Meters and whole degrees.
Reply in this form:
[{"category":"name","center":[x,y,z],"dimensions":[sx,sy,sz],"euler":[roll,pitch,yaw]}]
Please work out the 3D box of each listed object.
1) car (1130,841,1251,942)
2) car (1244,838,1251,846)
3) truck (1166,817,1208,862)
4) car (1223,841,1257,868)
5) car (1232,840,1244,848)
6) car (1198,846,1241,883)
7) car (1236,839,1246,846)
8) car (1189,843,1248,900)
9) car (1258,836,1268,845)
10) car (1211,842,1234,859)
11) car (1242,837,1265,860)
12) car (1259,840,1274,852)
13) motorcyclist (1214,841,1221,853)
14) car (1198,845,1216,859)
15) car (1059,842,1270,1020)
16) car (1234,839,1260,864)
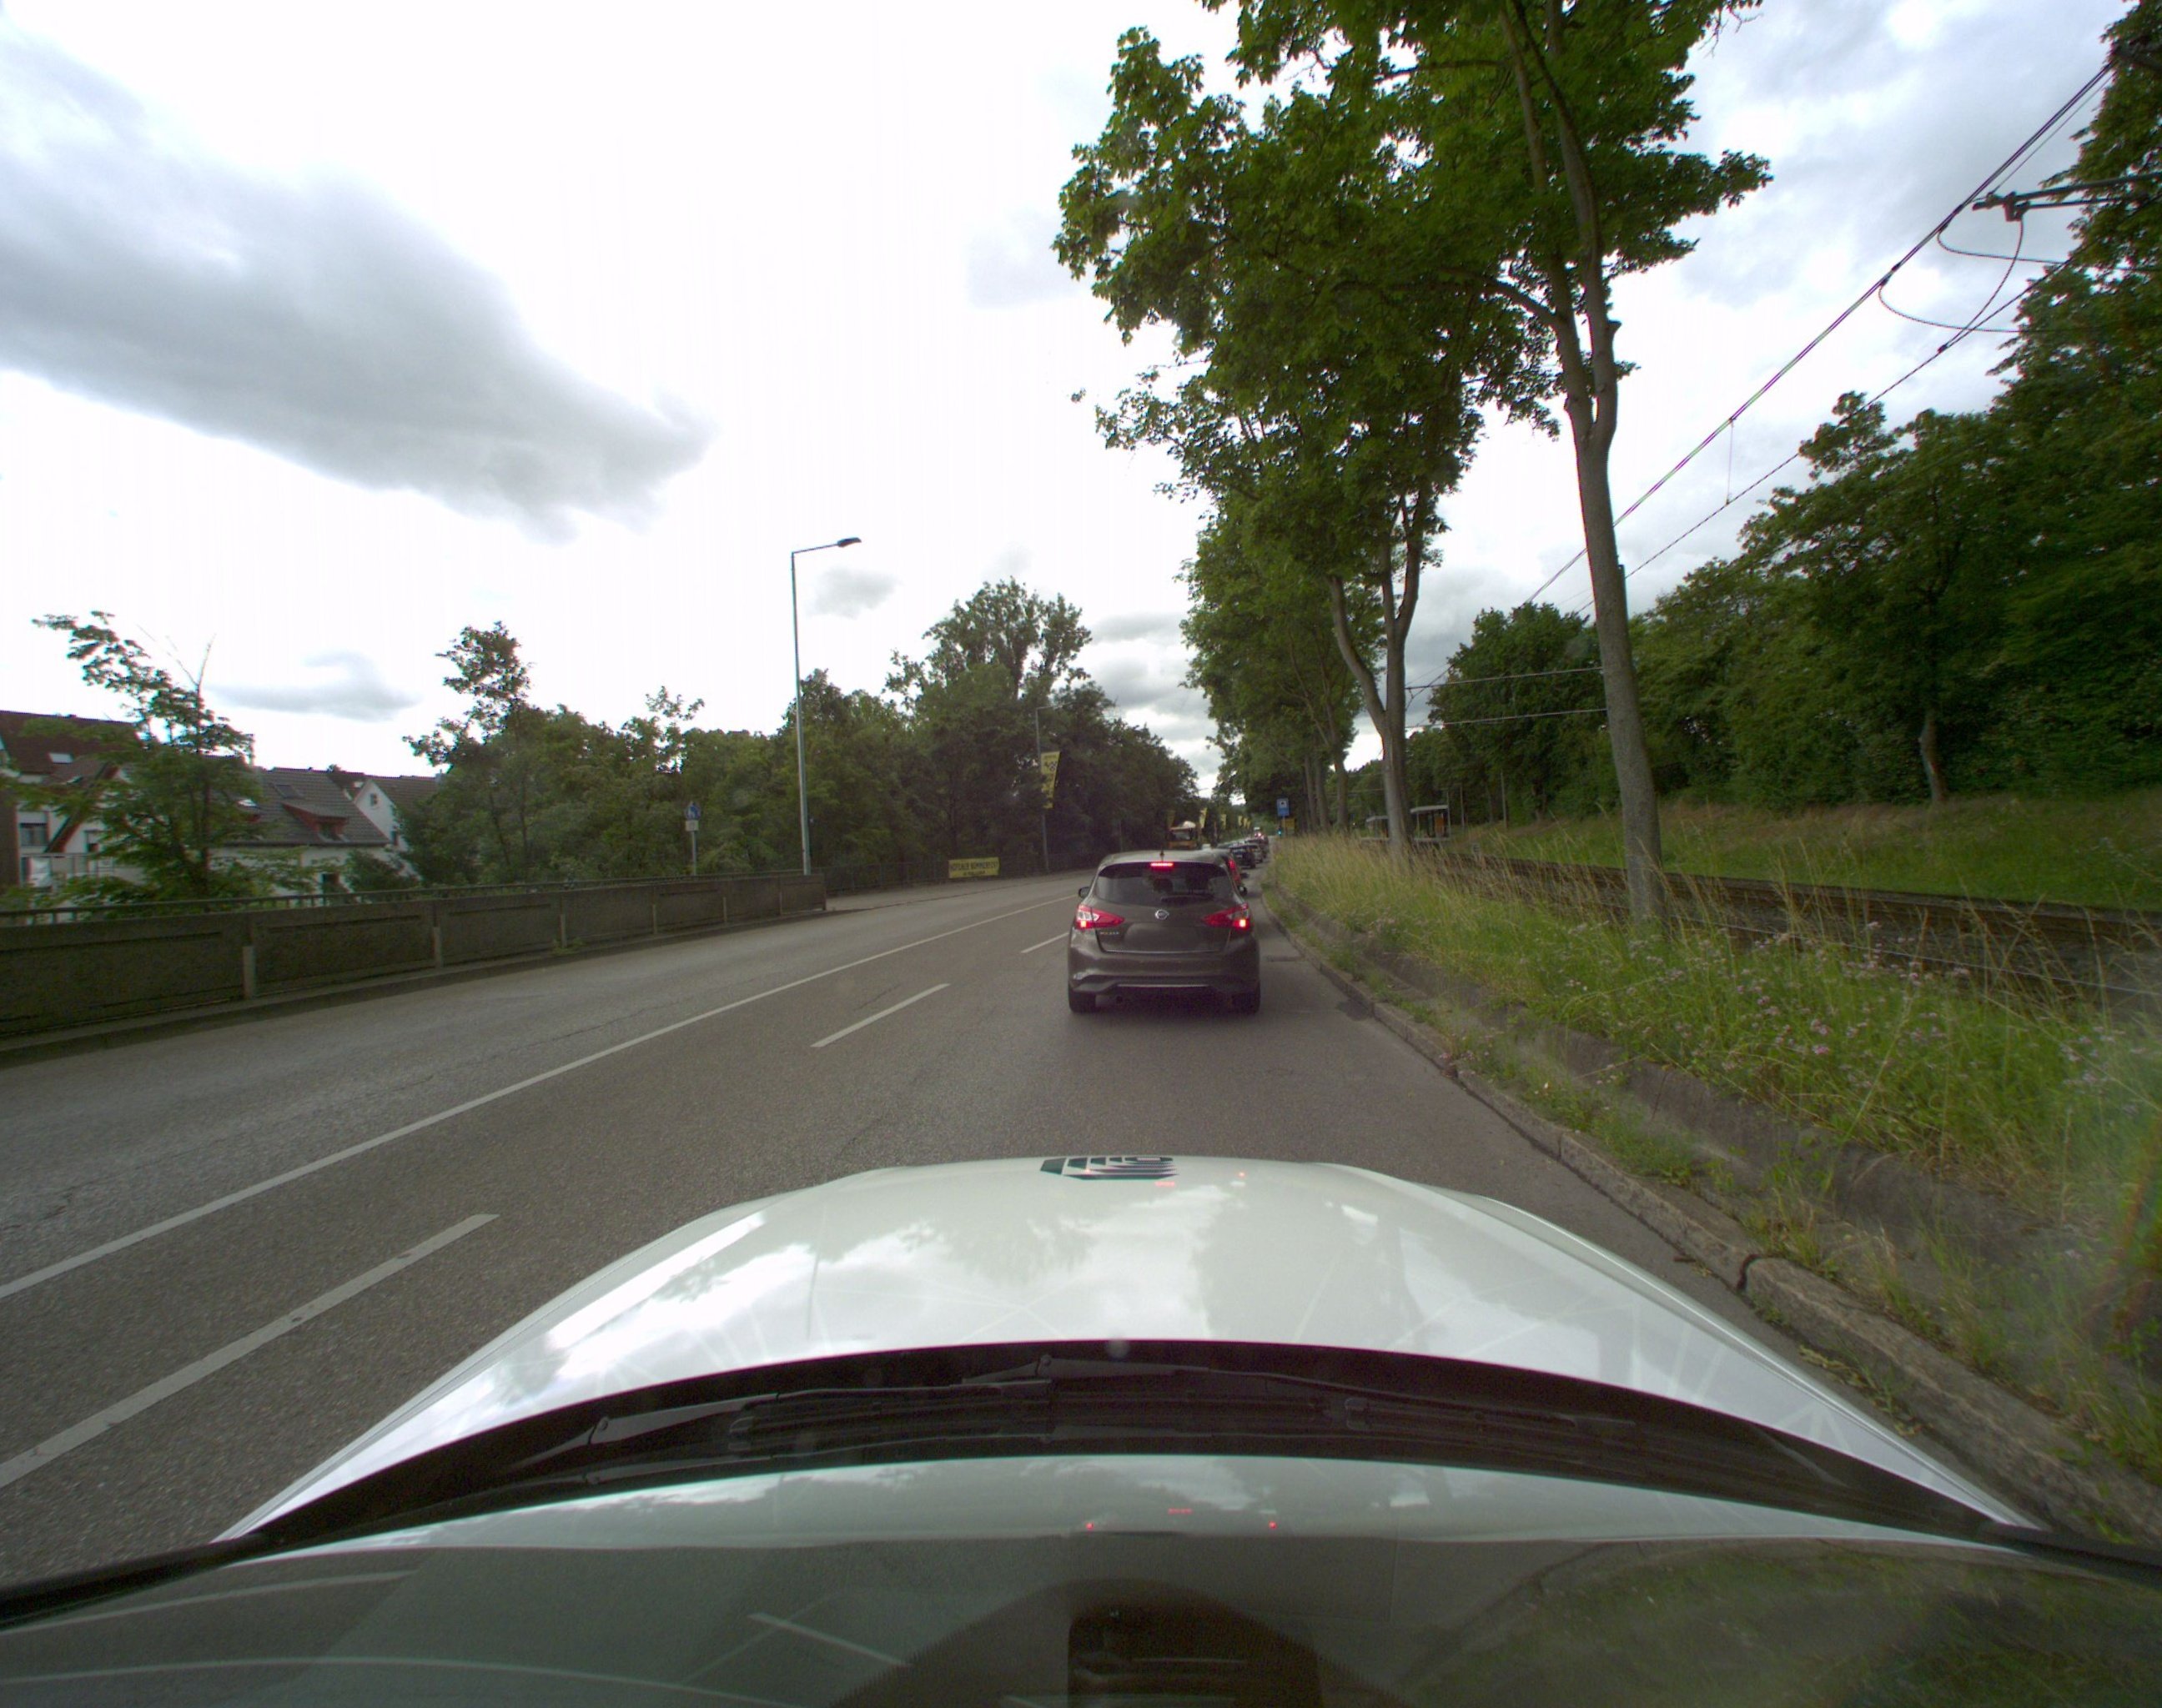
[{"category":"car","center":[2.003,0.637,15.177],"dimensions":[1.883,1.574,4.007],"euler":[-2,-1,7]},{"category":"car","center":[42.094,-2.974,205.922],"dimensions":[1.706,1.693,3.738],"euler":[-3,-2,13]},{"category":"truck","center":[10.155,-1.332,77.342],"dimensions":[2.635,3.938,10.150],"euler":[-2,0,14]},{"category":"car","center":[9.574,0.021,48.853],"dimensions":[1.792,1.540,4.015],"euler":[-1,-1,14]},{"category":"car","center":[28.136,-1.805,146.294],"dimensions":[1.804,1.462,4.016],"euler":[-3,0,14]},{"category":"car","center":[5.794,0.422,33.769],"dimensions":[1.490,1.364,3.600],"euler":[-3,-1,13]},{"category":"car","center":[34.151,-2.464,173.791],"dimensions":[1.740,1.420,4.013],"euler":[-3,-2,12]},{"category":"car","center":[4.216,0.496,24.955],"dimensions":[1.568,1.538,4.011],"euler":[-3,-1,10]},{"category":"car","center":[35.617,-2.710,159.219],"dimensions":[1.877,1.653,4.015],"euler":[-2,0,14]},{"category":"car","center":[13.992,-0.336,80.490],"dimensions":[1.838,1.486,4.438],"euler":[-3,-1,15]},{"category":"car","center":[15.911,-0.540,75.054],"dimensions":[1.877,2.013,4.015],"euler":[-2,0,14]},{"category":"car","center":[24.476,-1.025,107.469],"dimensions":[1.877,1.445,3.821],"euler":[-2,0,14]},{"category":"motorcyclist","center":[17.992,-0.888,107.256],"dimensions":[0.739,1.539,0.794],"euler":[-2,0,15]},{"category":"car","center":[14.185,-0.240,91.468],"dimensions":[1.755,1.479,4.014],"euler":[-2,0,13]},{"category":"car","center":[0.982,0.687,8.950],"dimensions":[1.765,1.494,4.009],"euler":[-1,-1,8]},{"category":"car","center":[12.395,-0.140,60.673],"dimensions":[1.706,1.693,4.014],"euler":[-3,-2,13]}]
